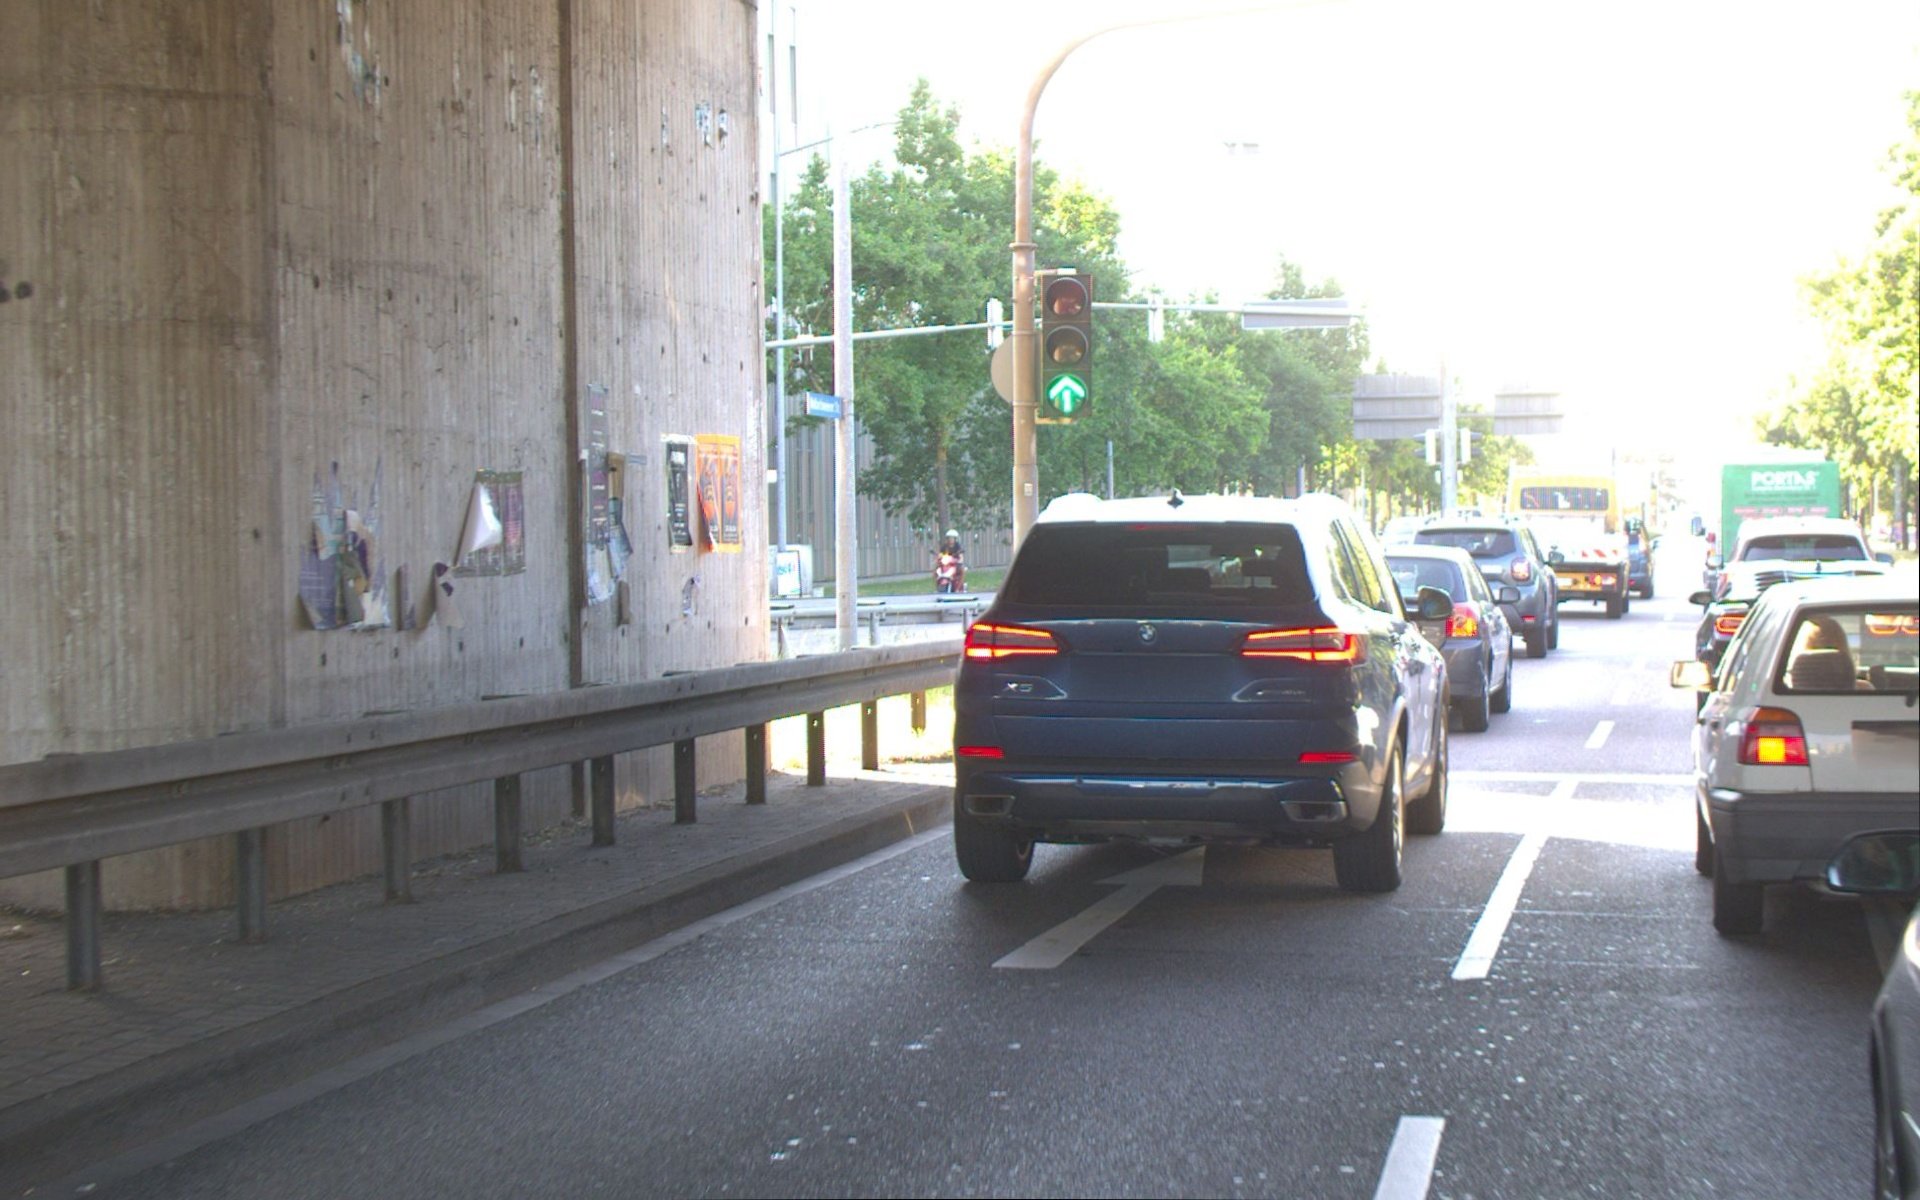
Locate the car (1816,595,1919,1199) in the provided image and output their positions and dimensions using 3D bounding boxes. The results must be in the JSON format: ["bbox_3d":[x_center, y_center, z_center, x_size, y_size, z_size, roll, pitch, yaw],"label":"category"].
[{"bbox_3d":[2.326,0.723,5.266,1.617,1.405,3.682,1,1,9],"label":"car"}]

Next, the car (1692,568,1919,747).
[{"bbox_3d":[6.868,0.407,27.302,1.995,1.290,3.998,1,1,13],"label":"car"}]

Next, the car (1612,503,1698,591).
[{"bbox_3d":[13.886,-1.047,68.633,1.617,1.673,3.681,1,1,12],"label":"car"}]

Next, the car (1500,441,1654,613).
[{"bbox_3d":[9.692,-1.124,54.316,2.137,2.567,5.085,1,1,8],"label":"car"}]

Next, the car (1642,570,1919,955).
[{"bbox_3d":[3.876,0.592,14.723,1.579,1.408,4.061,1,1,7],"label":"car"}]

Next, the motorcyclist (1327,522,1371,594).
[{"bbox_3d":[7.607,-0.830,67.316,0.797,1.345,1.274,-2,2,6],"label":"motorcyclist"}]

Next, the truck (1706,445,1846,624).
[{"bbox_3d":[12.666,-1.004,53.487,1.997,2.659,3.998,1,1,13],"label":"truck"}]

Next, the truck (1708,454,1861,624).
[{"bbox_3d":[11.717,-0.854,48.965,1.997,2.307,3.998,1,1,13],"label":"truck"}]

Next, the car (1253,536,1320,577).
[{"bbox_3d":[12.356,-1.626,130.051,1.994,1.396,4.347,-4,0,11],"label":"car"}]

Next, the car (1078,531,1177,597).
[{"bbox_3d":[4.766,-1.009,97.241,1.994,1.691,4.678,-4,0,12],"label":"car"}]

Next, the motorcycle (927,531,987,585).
[{"bbox_3d":[-0.058,-0.922,75.130,0.681,1.152,2.237,1,1,16],"label":"motorcycle"}]

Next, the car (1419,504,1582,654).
[{"bbox_3d":[6.433,-0.253,40.661,1.617,1.673,3.681,1,1,13],"label":"car"}]

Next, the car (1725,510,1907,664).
[{"bbox_3d":[9.257,-0.155,37.392,1.797,1.553,3.998,1,1,13],"label":"car"}]

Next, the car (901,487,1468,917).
[{"bbox_3d":[1.235,0.390,16.404,1.995,1.728,4.530,1,1,13],"label":"car"}]

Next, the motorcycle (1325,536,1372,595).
[{"bbox_3d":[7.594,-0.688,67.276,0.840,1.072,2.401,-3,1,6],"label":"motorcycle"}]

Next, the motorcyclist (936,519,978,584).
[{"bbox_3d":[-0.069,-1.058,75.075,0.682,1.419,0.867,1,1,15],"label":"motorcyclist"}]

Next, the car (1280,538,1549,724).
[{"bbox_3d":[3.807,0.219,28.339,1.618,1.405,3.680,1,1,17],"label":"car"}]

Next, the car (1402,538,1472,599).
[{"bbox_3d":[12.637,-0.831,90.958,1.702,1.447,3.856,-4,0,9],"label":"car"}]
